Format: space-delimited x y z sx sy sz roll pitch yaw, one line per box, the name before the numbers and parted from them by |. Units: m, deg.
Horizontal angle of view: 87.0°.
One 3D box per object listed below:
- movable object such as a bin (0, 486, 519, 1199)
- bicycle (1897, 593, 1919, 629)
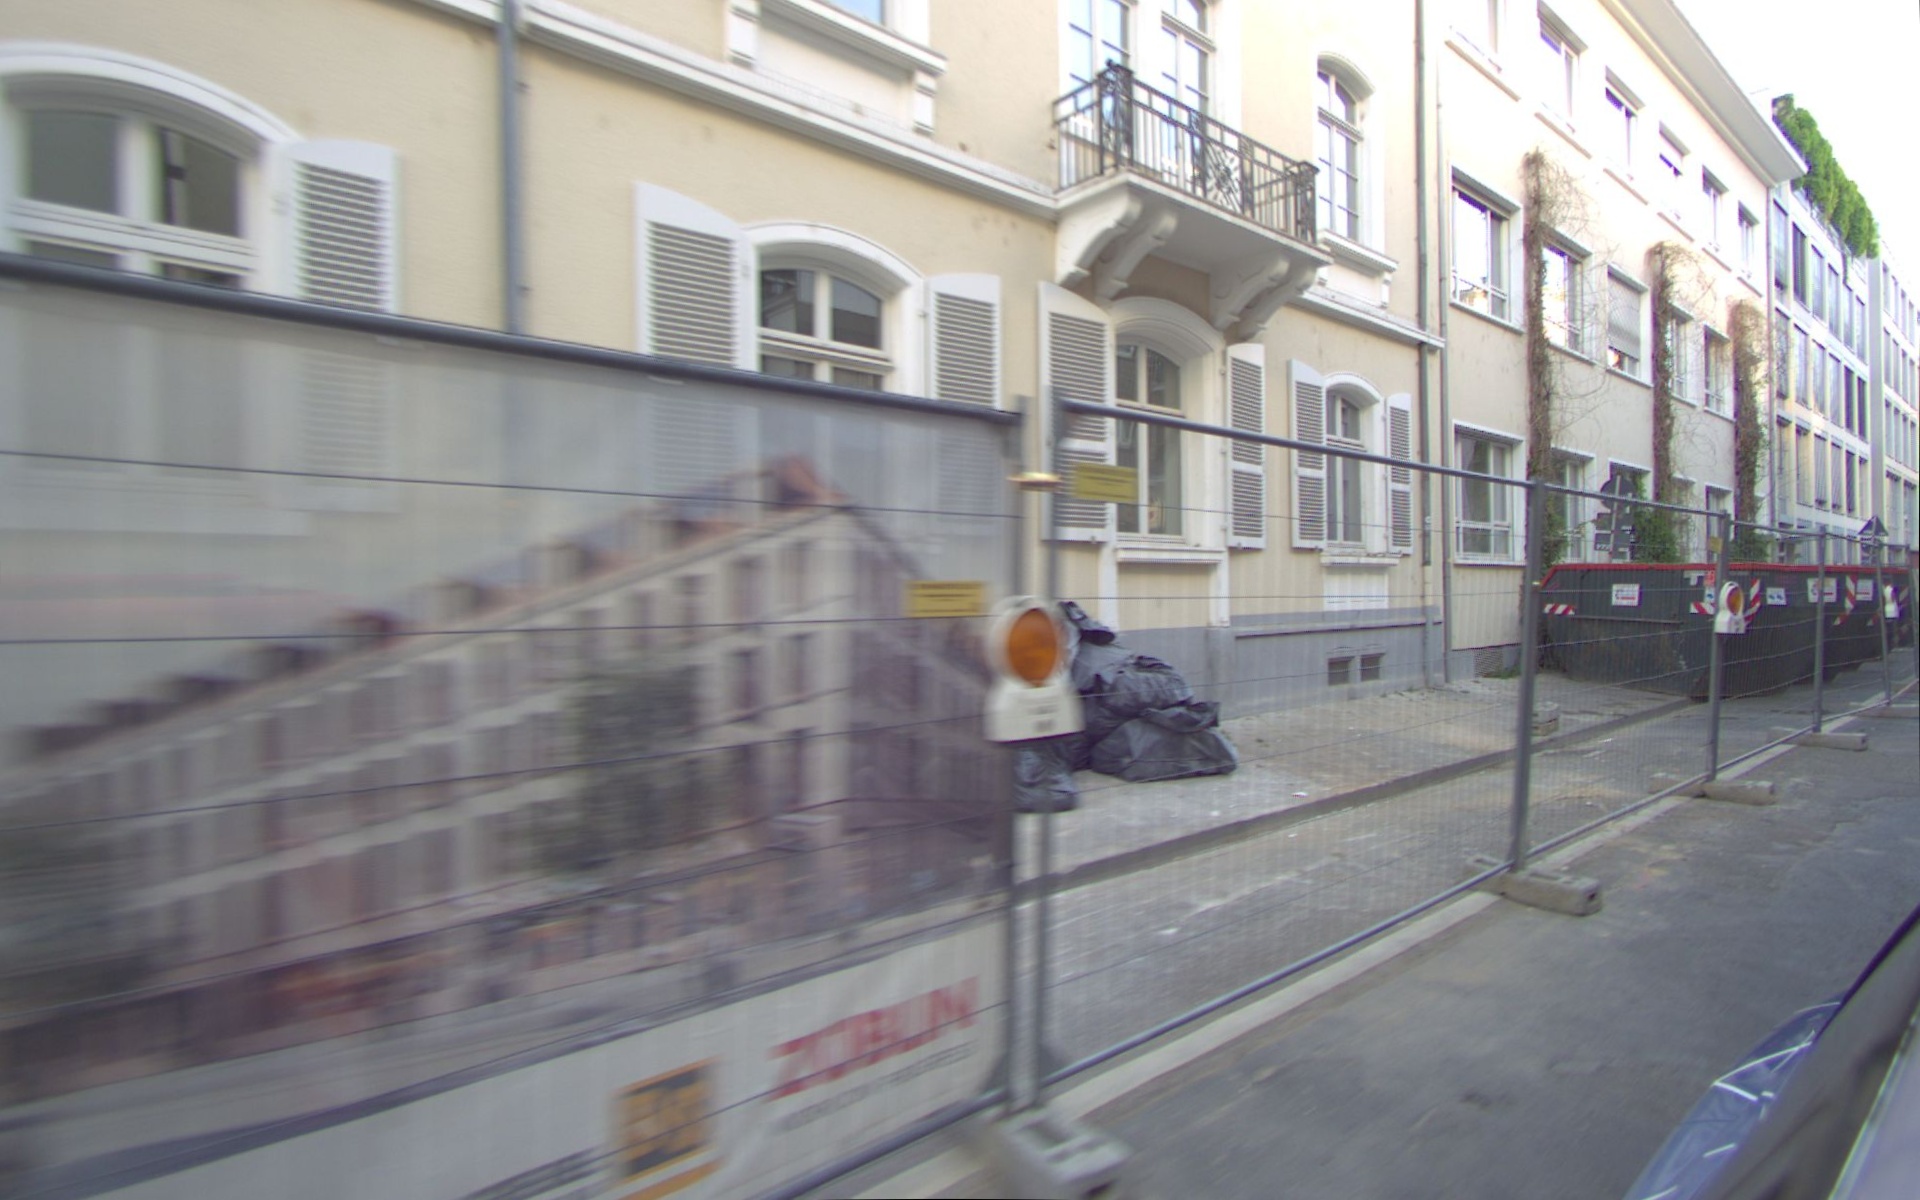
movable object such as a bin | -4.727 0.685 0.979 7.423 1.659 2.739 -2 1 -42
bicycle | 24.598 0.283 25.436 0.451 0.920 1.806 -1 0 3
